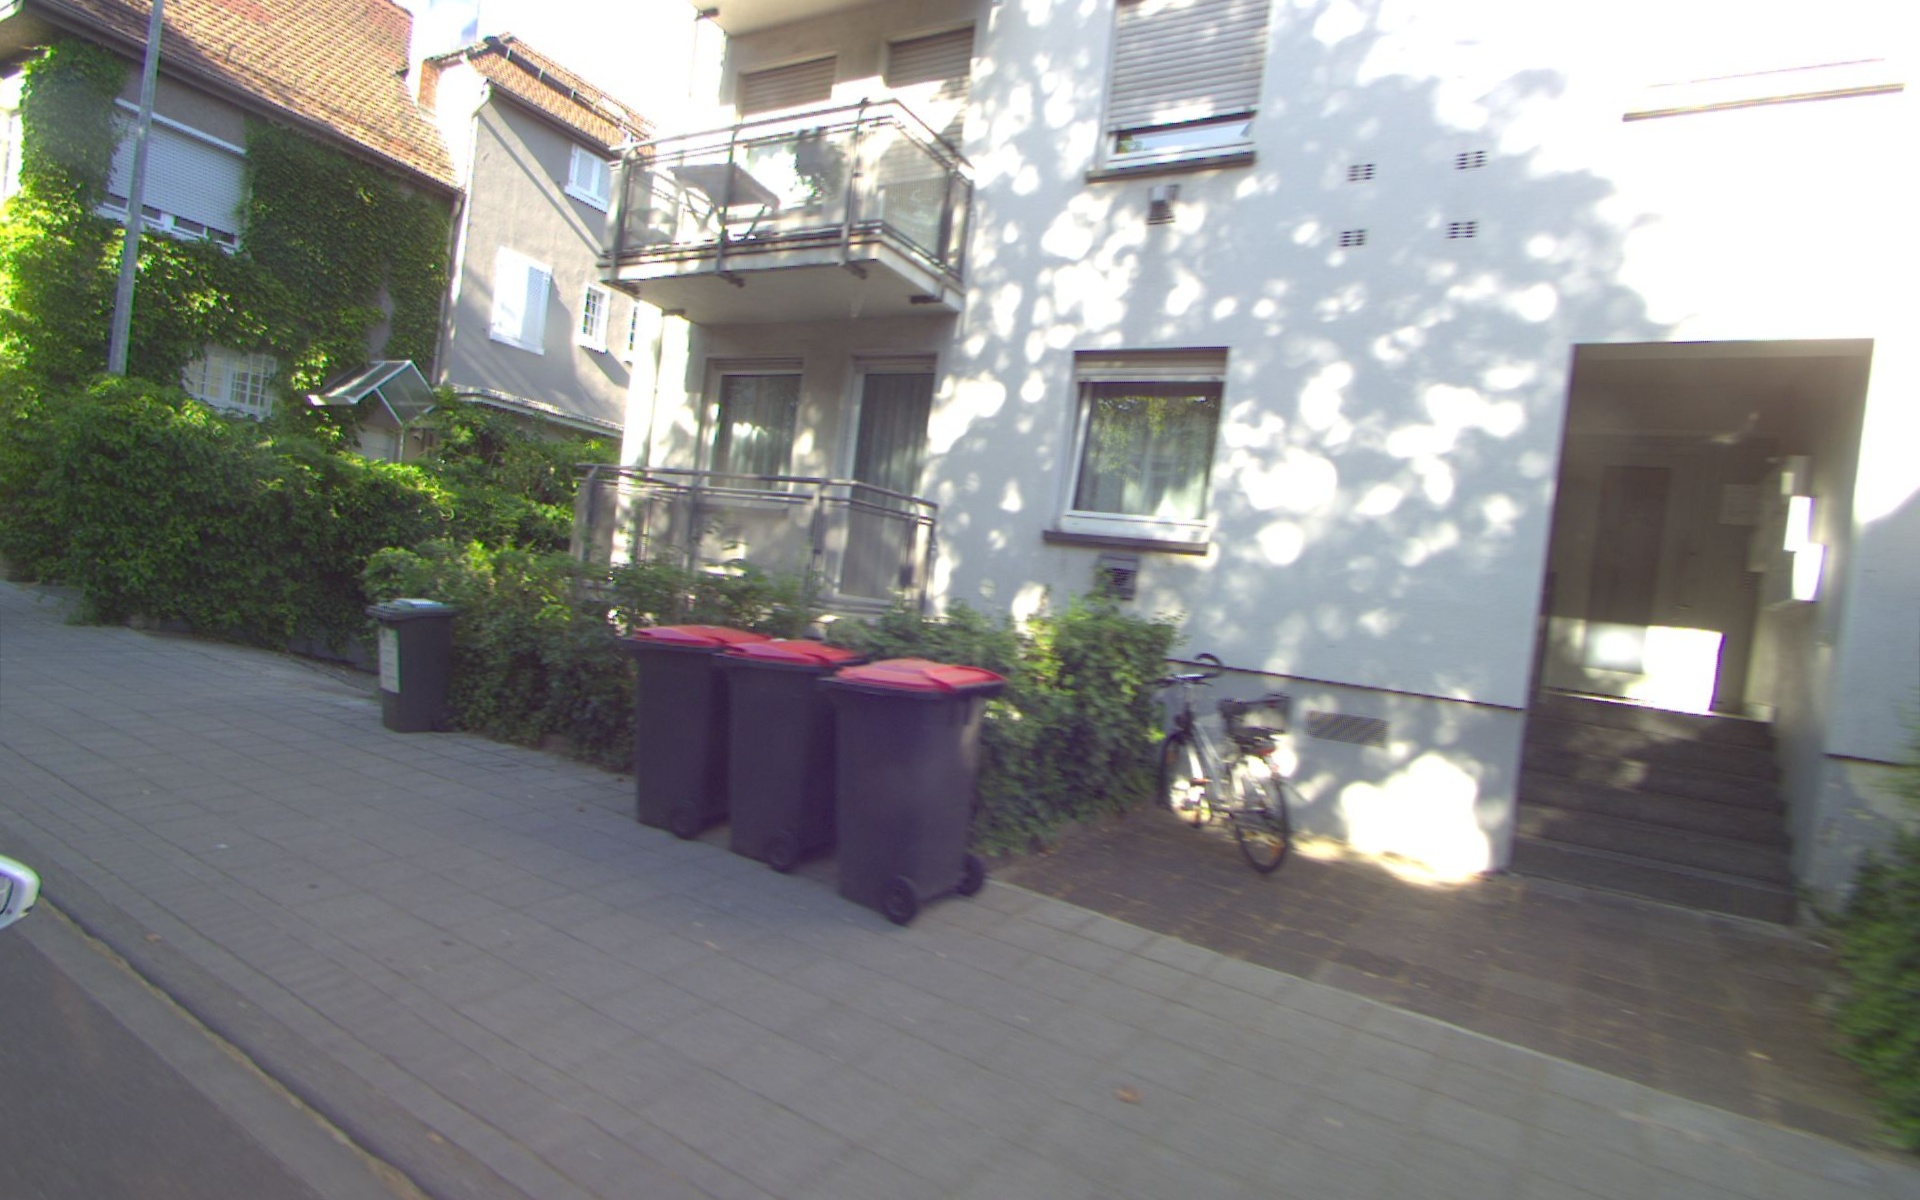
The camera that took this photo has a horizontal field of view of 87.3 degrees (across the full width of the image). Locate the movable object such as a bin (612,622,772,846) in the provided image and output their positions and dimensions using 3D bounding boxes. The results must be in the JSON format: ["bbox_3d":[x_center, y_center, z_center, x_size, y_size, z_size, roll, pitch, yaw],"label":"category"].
[{"bbox_3d":[-1.434,0.680,5.390,0.608,1.059,0.483,7,4,31],"label":"movable object such as a bin"}]

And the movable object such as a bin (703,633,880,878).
[{"bbox_3d":[-0.841,0.735,5.018,0.646,1.059,0.483,7,4,31],"label":"movable object such as a bin"}]

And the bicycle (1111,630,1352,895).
[{"bbox_3d":[1.515,0.873,5.950,0.633,1.203,1.574,5,3,-11],"label":"bicycle"}]

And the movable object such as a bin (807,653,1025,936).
[{"bbox_3d":[-0.194,0.821,4.537,0.695,1.059,0.596,7,4,31],"label":"movable object such as a bin"}]

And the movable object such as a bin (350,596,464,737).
[{"bbox_3d":[-4.014,0.460,7.306,0.564,0.928,0.502,7,5,35],"label":"movable object such as a bin"}]
